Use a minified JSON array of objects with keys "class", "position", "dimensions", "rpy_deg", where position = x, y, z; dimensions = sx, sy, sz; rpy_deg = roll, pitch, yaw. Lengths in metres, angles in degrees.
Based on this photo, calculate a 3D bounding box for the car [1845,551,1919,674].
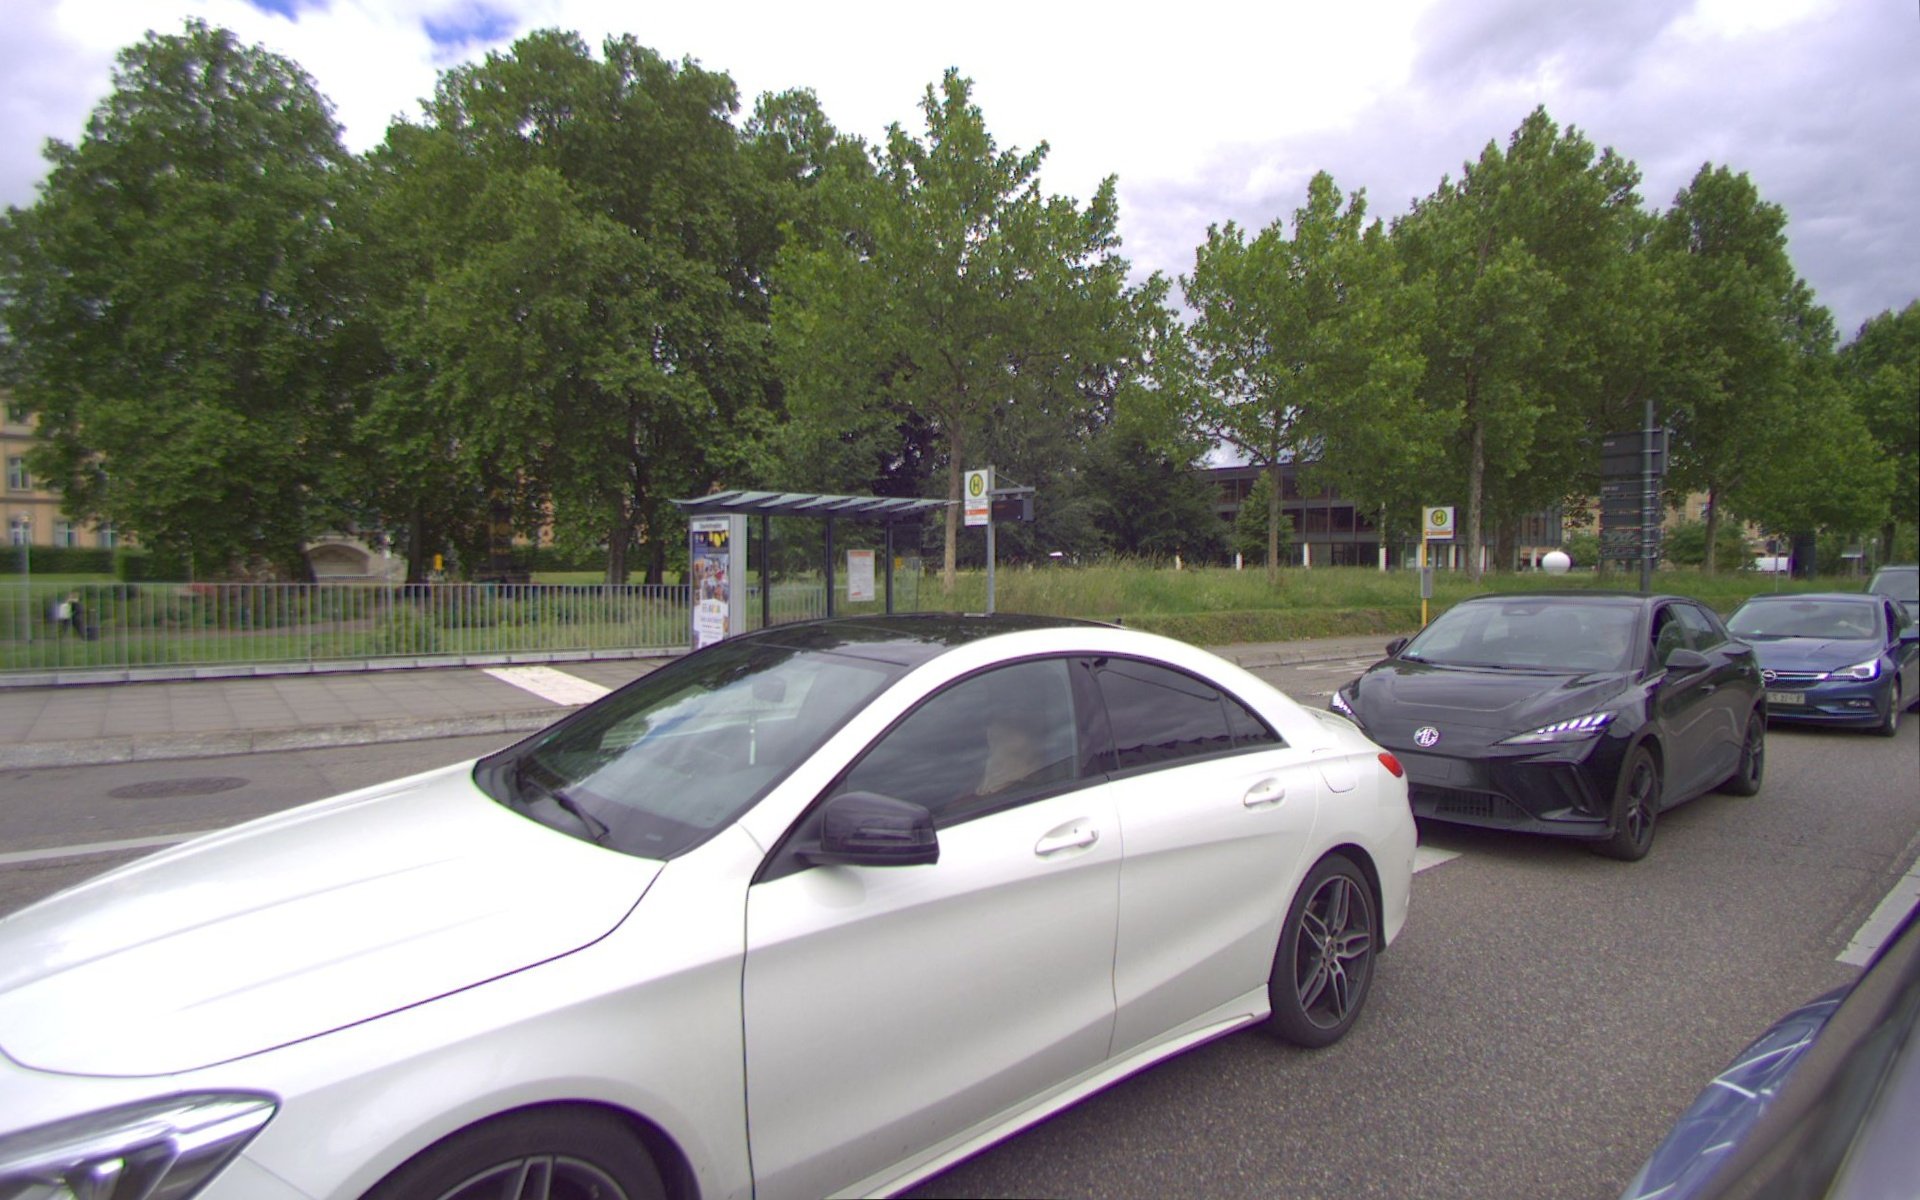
[{"class":"car","position":[16.393,0.142,16.661],"dimensions":[4.719,1.856,2.020],"rpy_deg":[-1,2,-40]}]

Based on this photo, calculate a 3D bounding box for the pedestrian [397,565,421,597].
[{"class":"pedestrian","position":[-36.138,-1.219,66.367],"dimensions":[1.083,2.039,0.944],"rpy_deg":[-2,0,-6]}]

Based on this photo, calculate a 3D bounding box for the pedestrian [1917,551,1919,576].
[{"class":"pedestrian","position":[77.399,-2.935,81.086],"dimensions":[1.160,2.039,0.891],"rpy_deg":[-2,0,-40]}]

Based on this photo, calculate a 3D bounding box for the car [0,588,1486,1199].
[{"class":"car","position":[-0.248,0.721,3.205],"dimensions":[4.446,1.437,1.799],"rpy_deg":[-1,2,-39]}]

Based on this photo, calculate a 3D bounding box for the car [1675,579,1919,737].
[{"class":"car","position":[9.796,0.502,11.482],"dimensions":[3.944,1.452,1.804],"rpy_deg":[-1,2,-40]}]

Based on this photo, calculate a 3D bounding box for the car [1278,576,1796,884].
[{"class":"car","position":[4.154,0.601,7.031],"dimensions":[4.020,1.508,1.852],"rpy_deg":[-1,2,-40]}]

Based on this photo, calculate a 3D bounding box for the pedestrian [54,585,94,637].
[{"class":"pedestrian","position":[-27.969,0.348,31.950],"dimensions":[0.674,1.621,0.654],"rpy_deg":[-1,0,18]}]
